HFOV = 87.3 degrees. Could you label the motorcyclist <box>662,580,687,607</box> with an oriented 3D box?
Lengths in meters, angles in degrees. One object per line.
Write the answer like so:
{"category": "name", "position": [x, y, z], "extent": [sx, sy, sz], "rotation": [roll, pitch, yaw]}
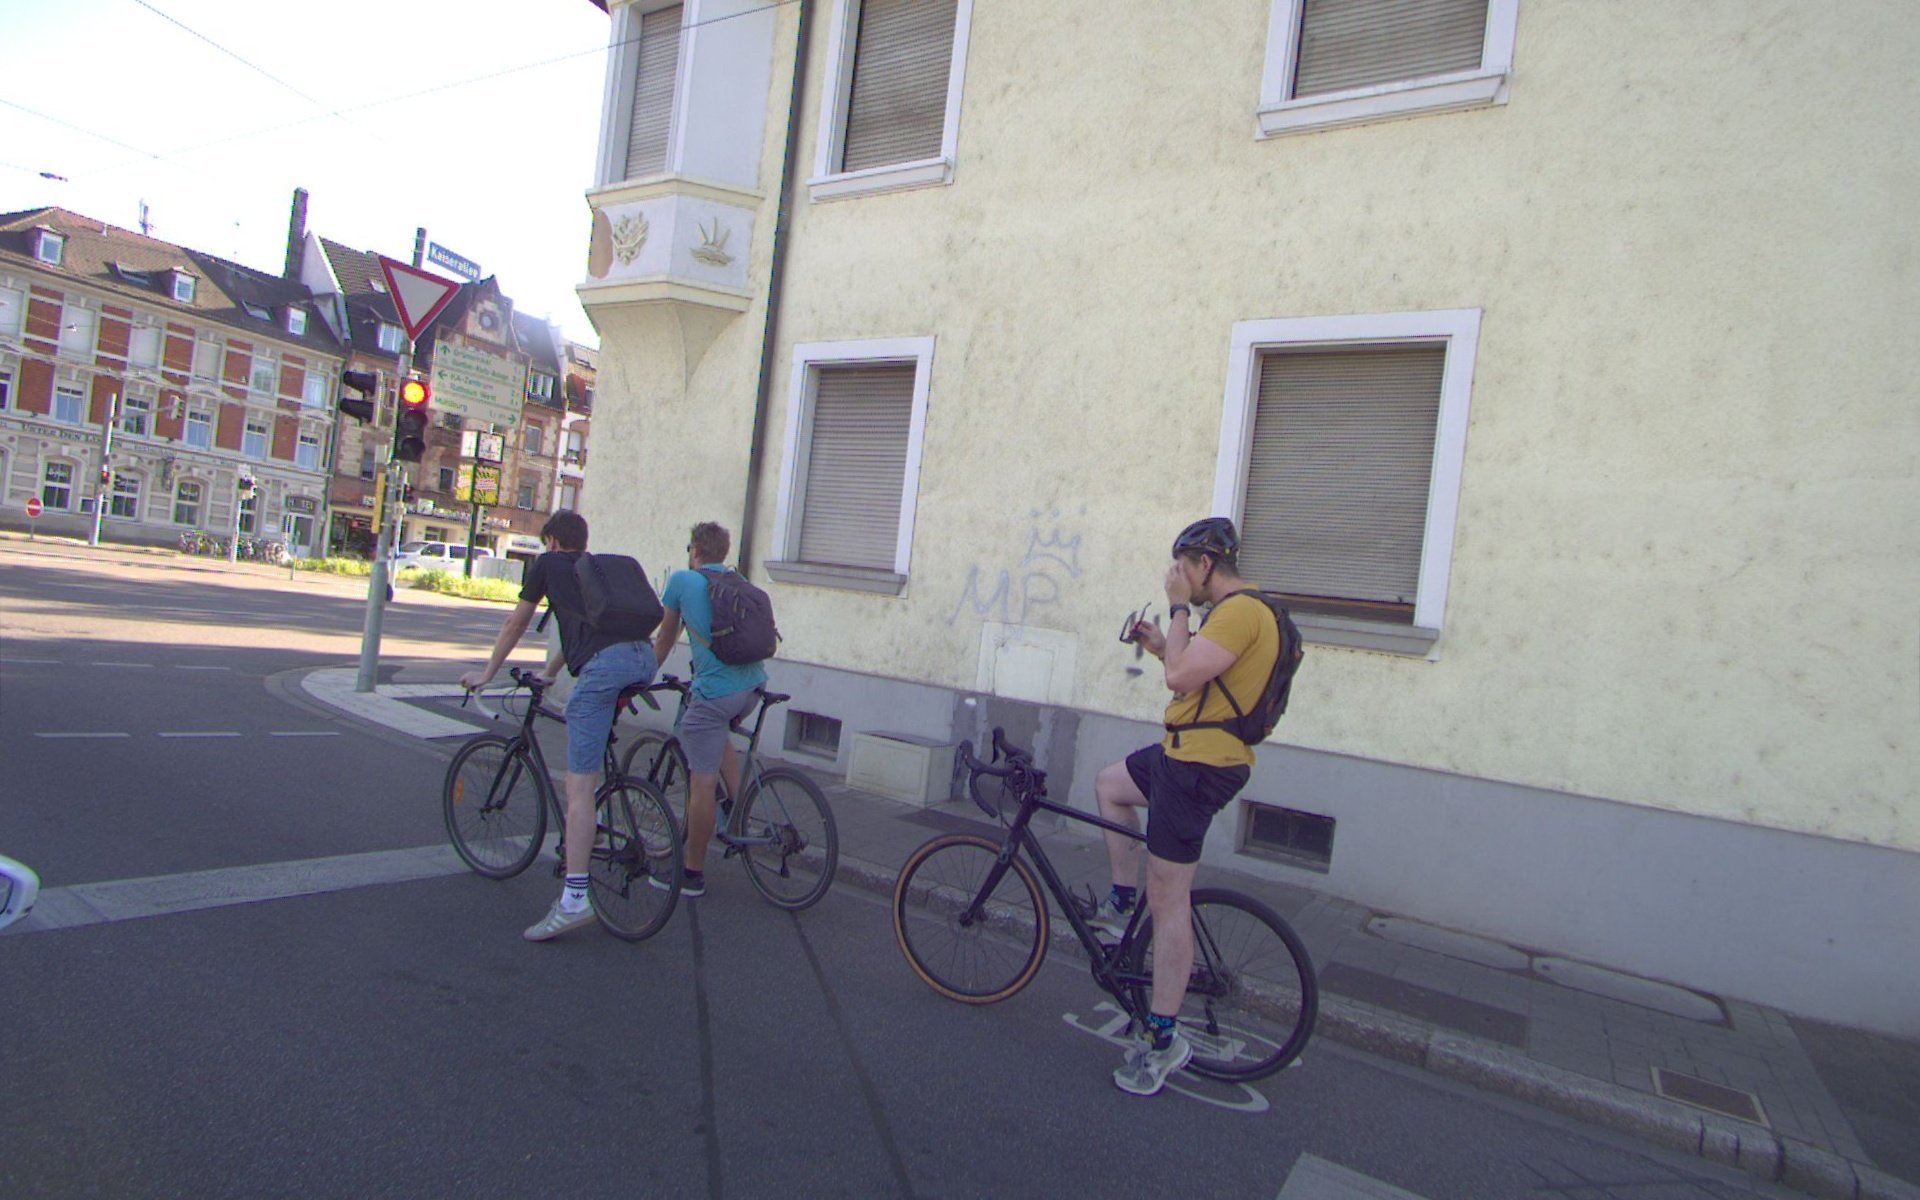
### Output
{"category": "motorcyclist", "position": [-15.927, -0.358, 56.130], "extent": [0.732, 1.371, 1.004], "rotation": [7, 0, 32]}

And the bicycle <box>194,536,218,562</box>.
{"category": "bicycle", "position": [-34.642, -2.340, 46.197], "extent": [1.759, 1.033, 0.485], "rotation": [7, 0, 42]}

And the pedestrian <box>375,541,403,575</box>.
{"category": "pedestrian", "position": [-31.981, -2.348, 56.371], "extent": [0.620, 1.731, 1.035], "rotation": [6, -1, 40]}

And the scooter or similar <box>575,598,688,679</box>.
{"category": "scooter or similar", "position": [-4.691, 0.573, 14.445], "extent": [0.556, 1.056, 1.432], "rotation": [7, 0, 31]}

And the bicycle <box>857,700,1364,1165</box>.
{"category": "bicycle", "position": [0.513, 1.088, 3.770], "extent": [1.670, 1.180, 0.571], "rotation": [7, 0, 32]}

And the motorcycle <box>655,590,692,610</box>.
{"category": "motorcycle", "position": [-15.965, 0.006, 56.125], "extent": [0.552, 0.908, 2.043], "rotation": [7, -1, 31]}

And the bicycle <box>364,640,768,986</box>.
{"category": "bicycle", "position": [-1.799, 0.833, 4.465], "extent": [1.858, 1.071, 0.571], "rotation": [7, 0, 32]}

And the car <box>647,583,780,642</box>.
{"category": "car", "position": [-7.618, 0.436, 31.563], "extent": [1.616, 1.397, 4.284], "rotation": [7, -1, 25]}

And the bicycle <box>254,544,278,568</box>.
{"category": "bicycle", "position": [-33.313, -2.113, 48.287], "extent": [1.759, 1.033, 0.485], "rotation": [7, 0, 42]}

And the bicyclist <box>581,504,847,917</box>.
{"category": "bicyclist", "position": [-1.286, 0.522, 5.268], "extent": [0.978, 1.910, 0.652], "rotation": [7, 0, 32]}

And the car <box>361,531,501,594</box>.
{"category": "car", "position": [-23.215, -1.601, 44.350], "extent": [1.967, 2.037, 4.988], "rotation": [7, -1, 31]}

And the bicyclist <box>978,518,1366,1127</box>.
{"category": "bicyclist", "position": [0.772, 0.695, 3.654], "extent": [1.019, 1.839, 0.652], "rotation": [7, 0, 32]}

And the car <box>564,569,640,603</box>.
{"category": "car", "position": [-23.176, -0.881, 65.226], "extent": [1.966, 1.641, 4.261], "rotation": [7, -1, 29]}

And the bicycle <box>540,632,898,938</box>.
{"category": "bicycle", "position": [-1.310, 0.876, 5.278], "extent": [1.858, 1.180, 0.571], "rotation": [7, 0, 32]}

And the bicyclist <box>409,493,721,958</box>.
{"category": "bicyclist", "position": [-1.751, 0.490, 4.467], "extent": [0.978, 1.788, 0.652], "rotation": [7, 0, 32]}

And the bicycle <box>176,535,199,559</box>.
{"category": "bicycle", "position": [-35.067, -2.413, 45.661], "extent": [1.759, 0.925, 0.485], "rotation": [7, 0, 42]}

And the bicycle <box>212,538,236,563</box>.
{"category": "bicycle", "position": [-34.191, -2.291, 46.743], "extent": [1.759, 1.033, 0.485], "rotation": [7, 0, 42]}

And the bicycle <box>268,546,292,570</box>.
{"category": "bicycle", "position": [-33.094, -2.057, 48.974], "extent": [1.759, 1.033, 0.485], "rotation": [7, 0, 42]}

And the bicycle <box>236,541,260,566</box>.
{"category": "bicycle", "position": [-33.676, -2.190, 47.559], "extent": [1.759, 1.033, 0.485], "rotation": [7, 0, 42]}

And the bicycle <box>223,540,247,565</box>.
{"category": "bicycle", "position": [-34.004, -2.249, 47.167], "extent": [1.759, 1.033, 0.485], "rotation": [7, 0, 42]}
